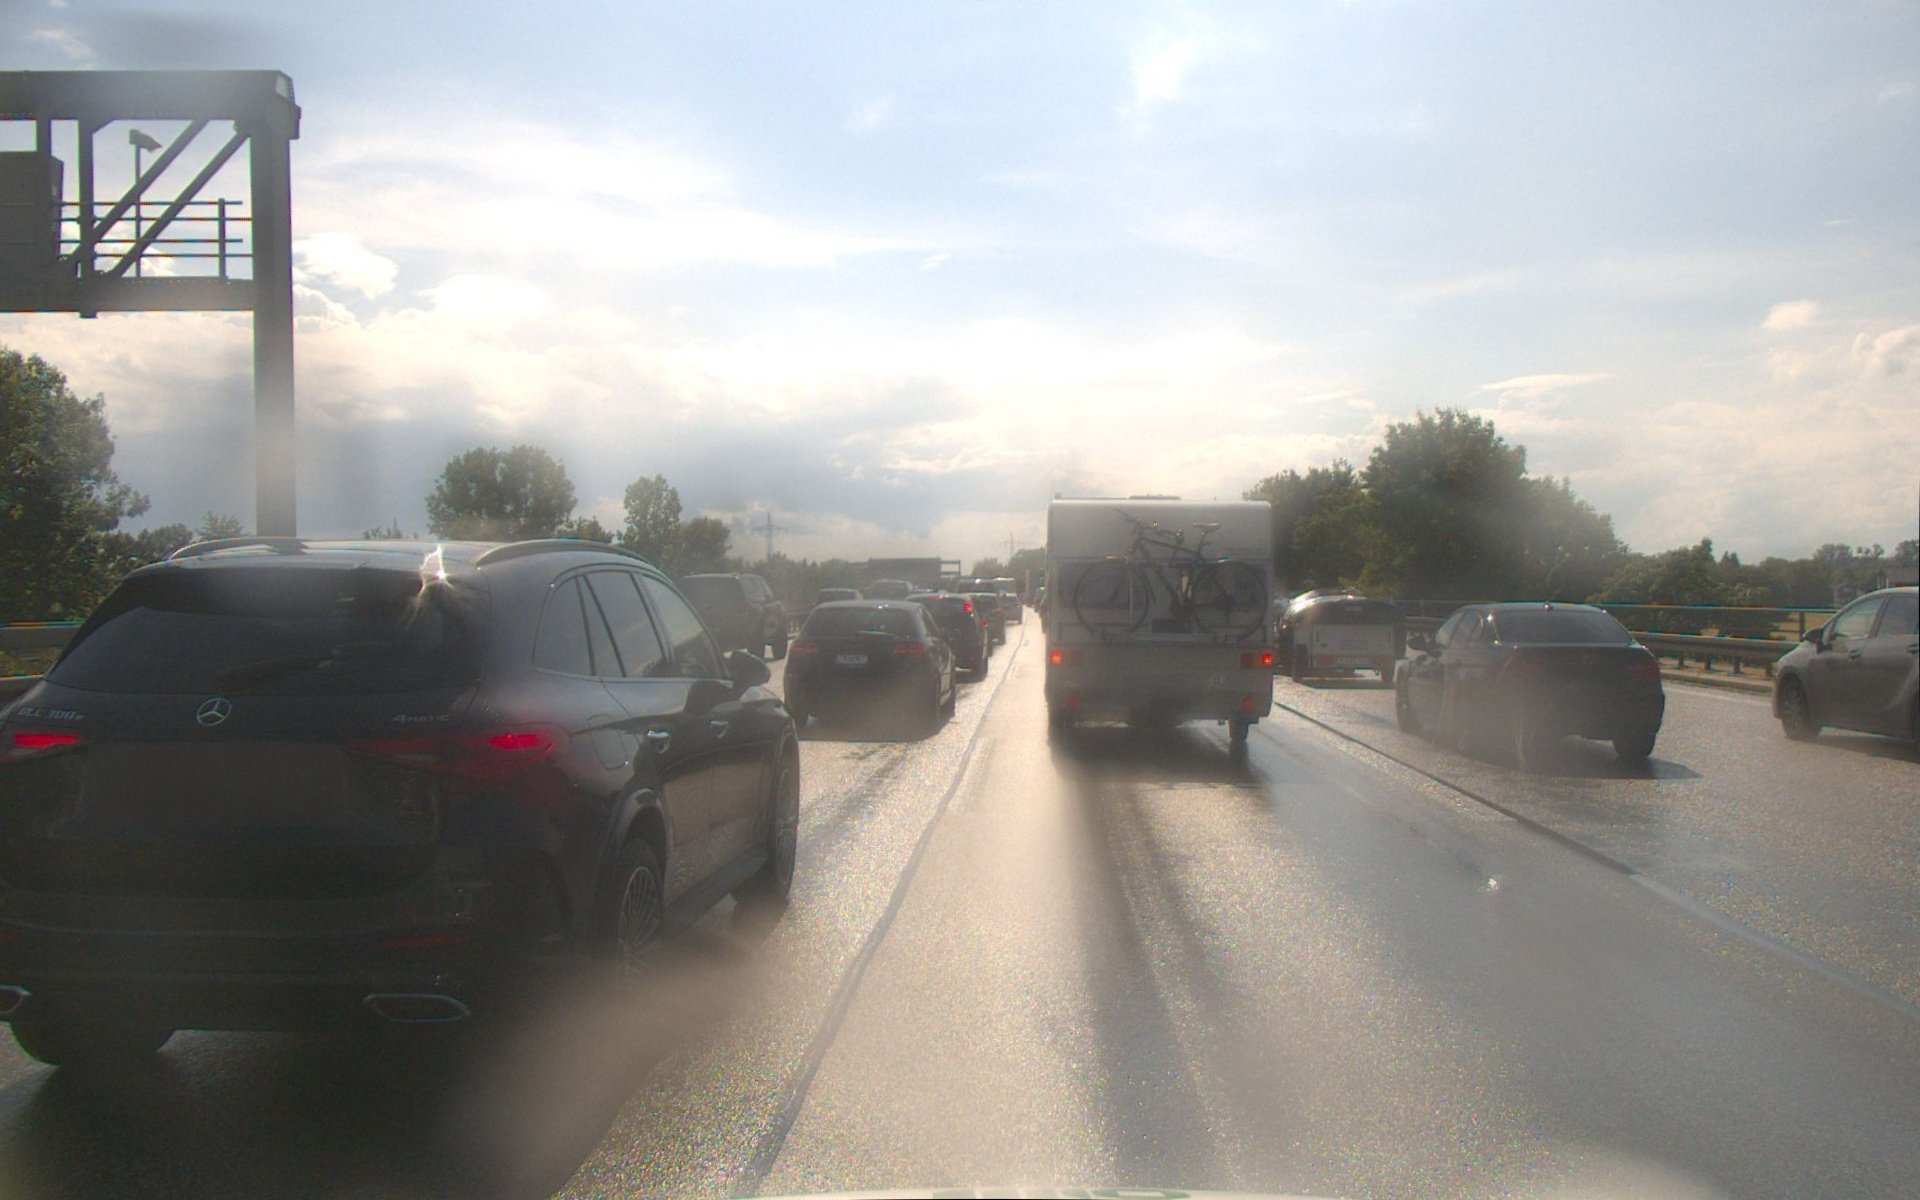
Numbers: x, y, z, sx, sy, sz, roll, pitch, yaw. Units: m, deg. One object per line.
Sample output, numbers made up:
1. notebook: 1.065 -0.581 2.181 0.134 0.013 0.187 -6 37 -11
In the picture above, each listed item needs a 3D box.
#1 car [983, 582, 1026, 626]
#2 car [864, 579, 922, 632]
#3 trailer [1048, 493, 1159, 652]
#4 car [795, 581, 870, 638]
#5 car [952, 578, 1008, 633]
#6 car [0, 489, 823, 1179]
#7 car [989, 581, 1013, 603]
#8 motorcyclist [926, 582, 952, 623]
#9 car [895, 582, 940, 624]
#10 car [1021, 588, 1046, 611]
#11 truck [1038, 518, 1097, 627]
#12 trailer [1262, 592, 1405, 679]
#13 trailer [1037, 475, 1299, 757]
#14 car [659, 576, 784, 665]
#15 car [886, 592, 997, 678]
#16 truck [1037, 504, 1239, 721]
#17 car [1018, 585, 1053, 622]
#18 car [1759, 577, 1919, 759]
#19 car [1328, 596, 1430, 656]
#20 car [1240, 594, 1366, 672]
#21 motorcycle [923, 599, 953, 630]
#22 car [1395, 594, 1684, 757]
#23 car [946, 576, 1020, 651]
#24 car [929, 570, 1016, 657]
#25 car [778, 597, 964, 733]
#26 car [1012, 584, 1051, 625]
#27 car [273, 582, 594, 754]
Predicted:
1. car: 2.215 0.171 81.079 1.952 2.049 4.002 2 0 3
2. car: -2.801 0.218 69.862 1.952 2.048 4.002 4 0 3
3. trailer: 4.214 -0.757 48.778 2.943 4.239 8.541 1 0 5
4. car: -4.233 0.300 55.496 1.952 1.803 4.002 1 0 3
5. car: 0.808 0.206 63.856 1.952 2.049 4.002 0 0 3
6. car: -1.810 0.571 6.304 1.952 1.690 4.408 0 0 3
7. car: 3.404 -0.632 137.587 1.837 1.791 4.000 1 0 0
8. motorcyclist: -0.903 0.100 70.098 1.041 1.748 0.785 0 0 3
9. car: -2.138 0.155 84.083 1.952 2.049 4.002 -1 0 3
10. car: 5.948 -0.069 134.036 1.837 1.791 4.000 1 0 0
11. truck: 5.024 -1.234 78.574 2.450 4.914 7.544 1 0 2
12. trailer: 6.621 0.583 29.717 1.816 1.467 4.149 0 0 2
13. trailer: 2.041 0.145 18.310 2.325 2.526 6.525 1 0 2
14. car: -4.972 0.408 35.046 1.952 1.750 4.001 1 0 1
15. car: -0.271 0.599 30.224 1.768 1.431 4.001 1 0 3
16. truck: 2.227 0.146 22.365 2.325 2.520 5.758 1 0 2
17. car: 4.582 0.221 99.916 1.952 2.048 4.002 4 0 3
18. car: 9.571 0.603 16.021 1.751 1.641 4.387 0 0 3
19. car: 10.581 0.630 42.004 1.733 1.426 4.291 0 0 3
20. car: 6.774 0.606 33.087 1.816 1.467 4.259 0 0 2
21. motorcycle: -0.911 0.610 69.931 1.051 1.293 2.691 0 0 3
22. car: 5.636 0.661 16.579 1.704 1.445 3.837 0 0 2
23. car: 0.741 0.390 50.311 1.952 2.048 4.002 4 0 3
24. car: 0.357 0.317 41.414 1.952 2.049 4.002 1 0 3
25. car: -0.935 0.679 19.326 1.720 1.411 3.947 0 0 4
26. car: 3.792 0.206 87.368 1.952 2.049 4.002 2 0 3
27. car: -5.211 0.602 16.995 1.720 1.543 4.211 0 0 4
